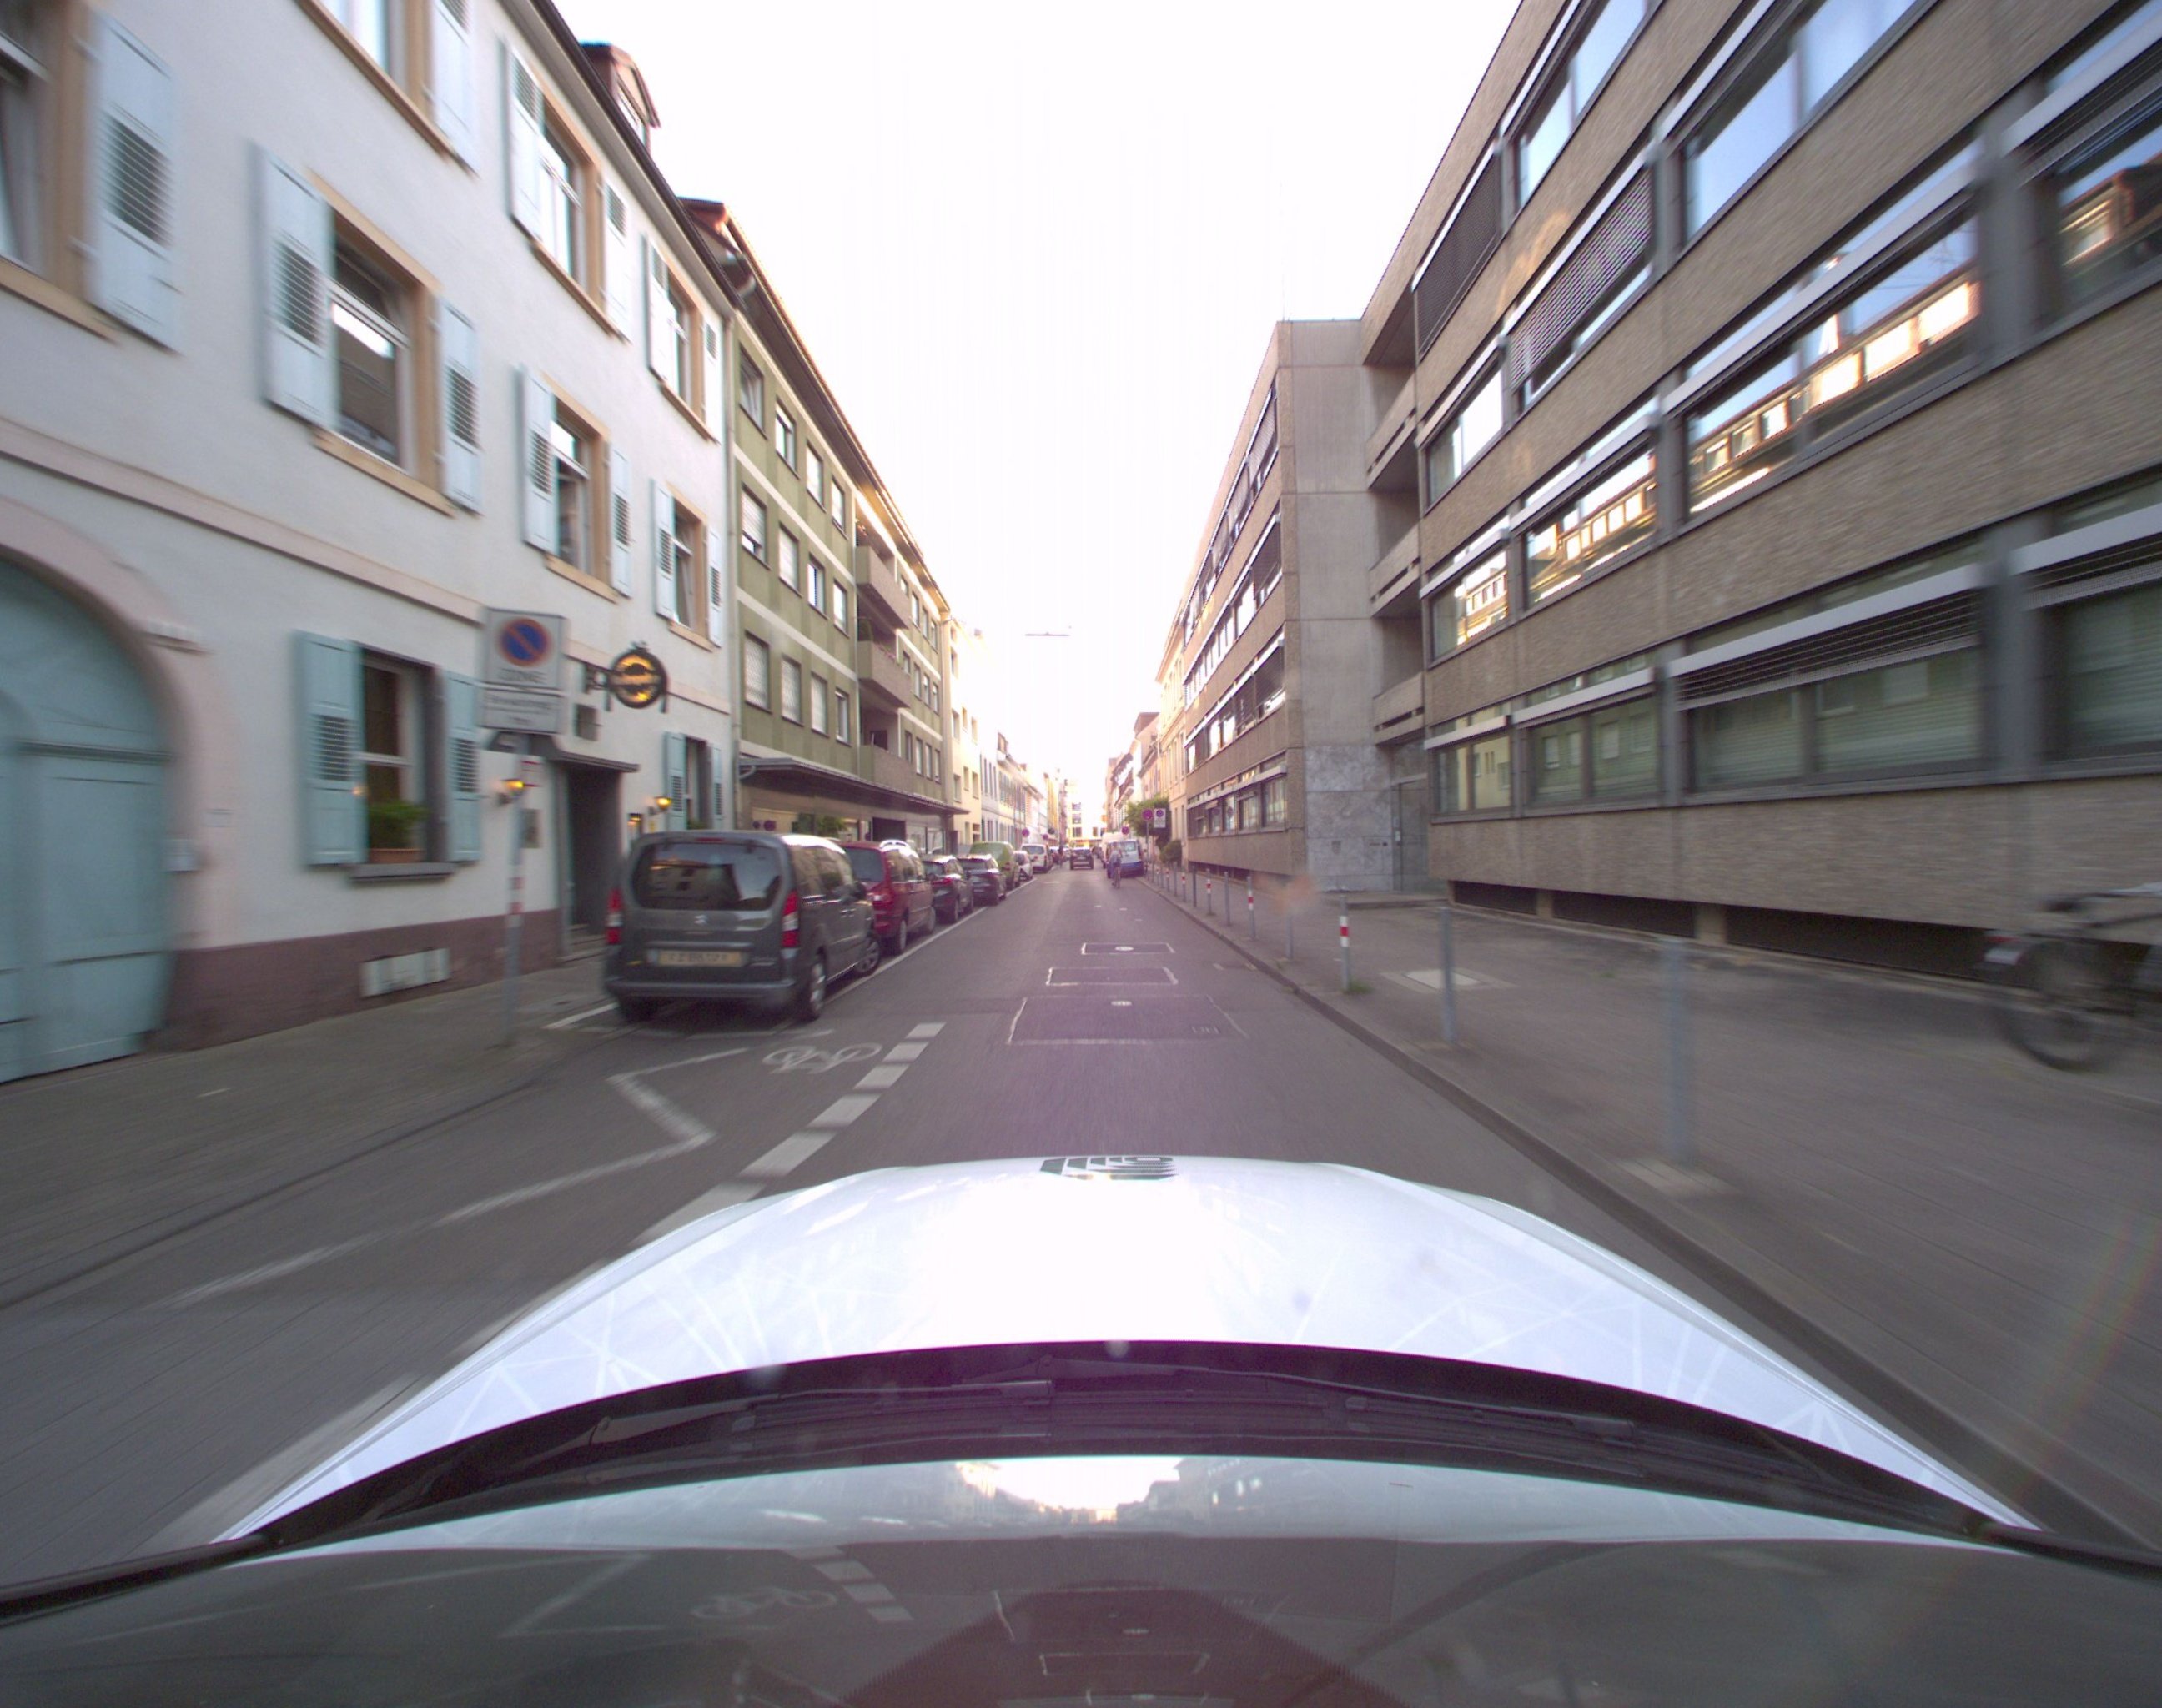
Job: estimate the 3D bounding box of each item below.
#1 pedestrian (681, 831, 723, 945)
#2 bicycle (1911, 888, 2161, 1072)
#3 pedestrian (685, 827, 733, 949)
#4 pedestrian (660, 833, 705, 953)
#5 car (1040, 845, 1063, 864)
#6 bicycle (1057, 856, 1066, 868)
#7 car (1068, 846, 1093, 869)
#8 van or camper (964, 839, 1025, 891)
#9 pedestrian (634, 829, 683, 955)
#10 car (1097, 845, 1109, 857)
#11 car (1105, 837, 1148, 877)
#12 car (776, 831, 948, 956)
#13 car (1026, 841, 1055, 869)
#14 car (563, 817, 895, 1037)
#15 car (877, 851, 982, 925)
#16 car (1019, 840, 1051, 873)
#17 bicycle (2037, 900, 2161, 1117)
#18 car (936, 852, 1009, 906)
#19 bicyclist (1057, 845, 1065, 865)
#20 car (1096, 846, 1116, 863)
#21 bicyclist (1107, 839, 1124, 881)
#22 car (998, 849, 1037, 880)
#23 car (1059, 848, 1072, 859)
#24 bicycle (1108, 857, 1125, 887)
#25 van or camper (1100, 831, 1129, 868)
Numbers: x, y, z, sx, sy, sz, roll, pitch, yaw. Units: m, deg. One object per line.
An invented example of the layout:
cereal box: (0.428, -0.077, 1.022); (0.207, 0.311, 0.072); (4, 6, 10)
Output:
pedestrian: (-5.916, 0.521, 12.730); (0.404, 1.750, 0.470); (-1, 0, 2)
bicycle: (5.872, 0.687, 4.718); (1.737, 0.923, 0.537); (-1, 0, -7)
pedestrian: (-5.438, 0.489, 11.919); (0.447, 1.750, 0.470); (-1, 0, 2)
pedestrian: (-5.939, 0.564, 12.161); (0.404, 1.750, 0.470); (-1, 0, 2)
car: (-2.790, 0.045, 78.220); (1.796, 1.676, 4.492); (-1, 0, 2)
bicycle: (-1.593, 0.646, 66.206); (0.631, 0.922, 1.780); (-1, 0, 1)
car: (0.001, 0.253, 60.338); (1.813, 1.618, 4.000); (0, 0, 0)
van or camper: (-3.318, 0.377, 31.971); (1.766, 1.848, 4.180); (-2, 0, 2)
pedestrian: (-6.015, 0.528, 11.604); (0.404, 1.750, 0.470); (-1, 0, 2)
car: (3.002, -0.423, 112.708); (1.647, 1.561, 3.606); (0, 0, 1)
car: (2.465, 0.119, 42.903); (1.926, 1.897, 5.285); (-2, 0, 6)
car: (-3.568, 0.564, 14.165); (1.767, 1.811, 4.509); (-1, 0, -1)
car: (-2.976, 0.049, 60.592); (1.857, 2.013, 4.812); (-2, 0, -1)
car: (-3.438, 0.586, 9.033); (1.872, 1.811, 4.447); (-1, 0, -2)
car: (-3.393, 0.698, 18.949); (1.618, 1.484, 3.878); (-2, 0, 1)
car: (-3.002, 0.120, 54.198); (1.857, 2.013, 5.104); (-2, 0, -1)
bicycle: (5.680, 0.694, 3.903); (1.794, 0.923, 0.537); (-1, 0, -8)
car: (-3.099, 0.664, 23.919); (1.619, 1.416, 3.979); (-1, 0, -1)
bicyclist: (-1.613, 0.094, 66.108); (0.621, 1.639, 1.082); (-1, 0, 1)
car: (2.535, 0.043, 82.791); (1.812, 1.530, 5.074); (-5, 0, 2)
bicyclist: (1.323, 0.232, 31.029); (0.618, 1.574, 0.684); (-1, 0, 1)
car: (-3.173, 0.510, 41.230); (1.656, 1.449, 3.521); (2, 0, 0)
car: (-2.120, -0.058, 112.435); (1.647, 1.561, 3.606); (0, 0, 1)
bicycle: (1.338, 0.685, 31.004); (0.611, 1.082, 1.810); (-1, 0, 2)
van or camper: (2.560, -0.377, 63.011); (2.042, 2.637, 7.065); (-2, 0, 2)
